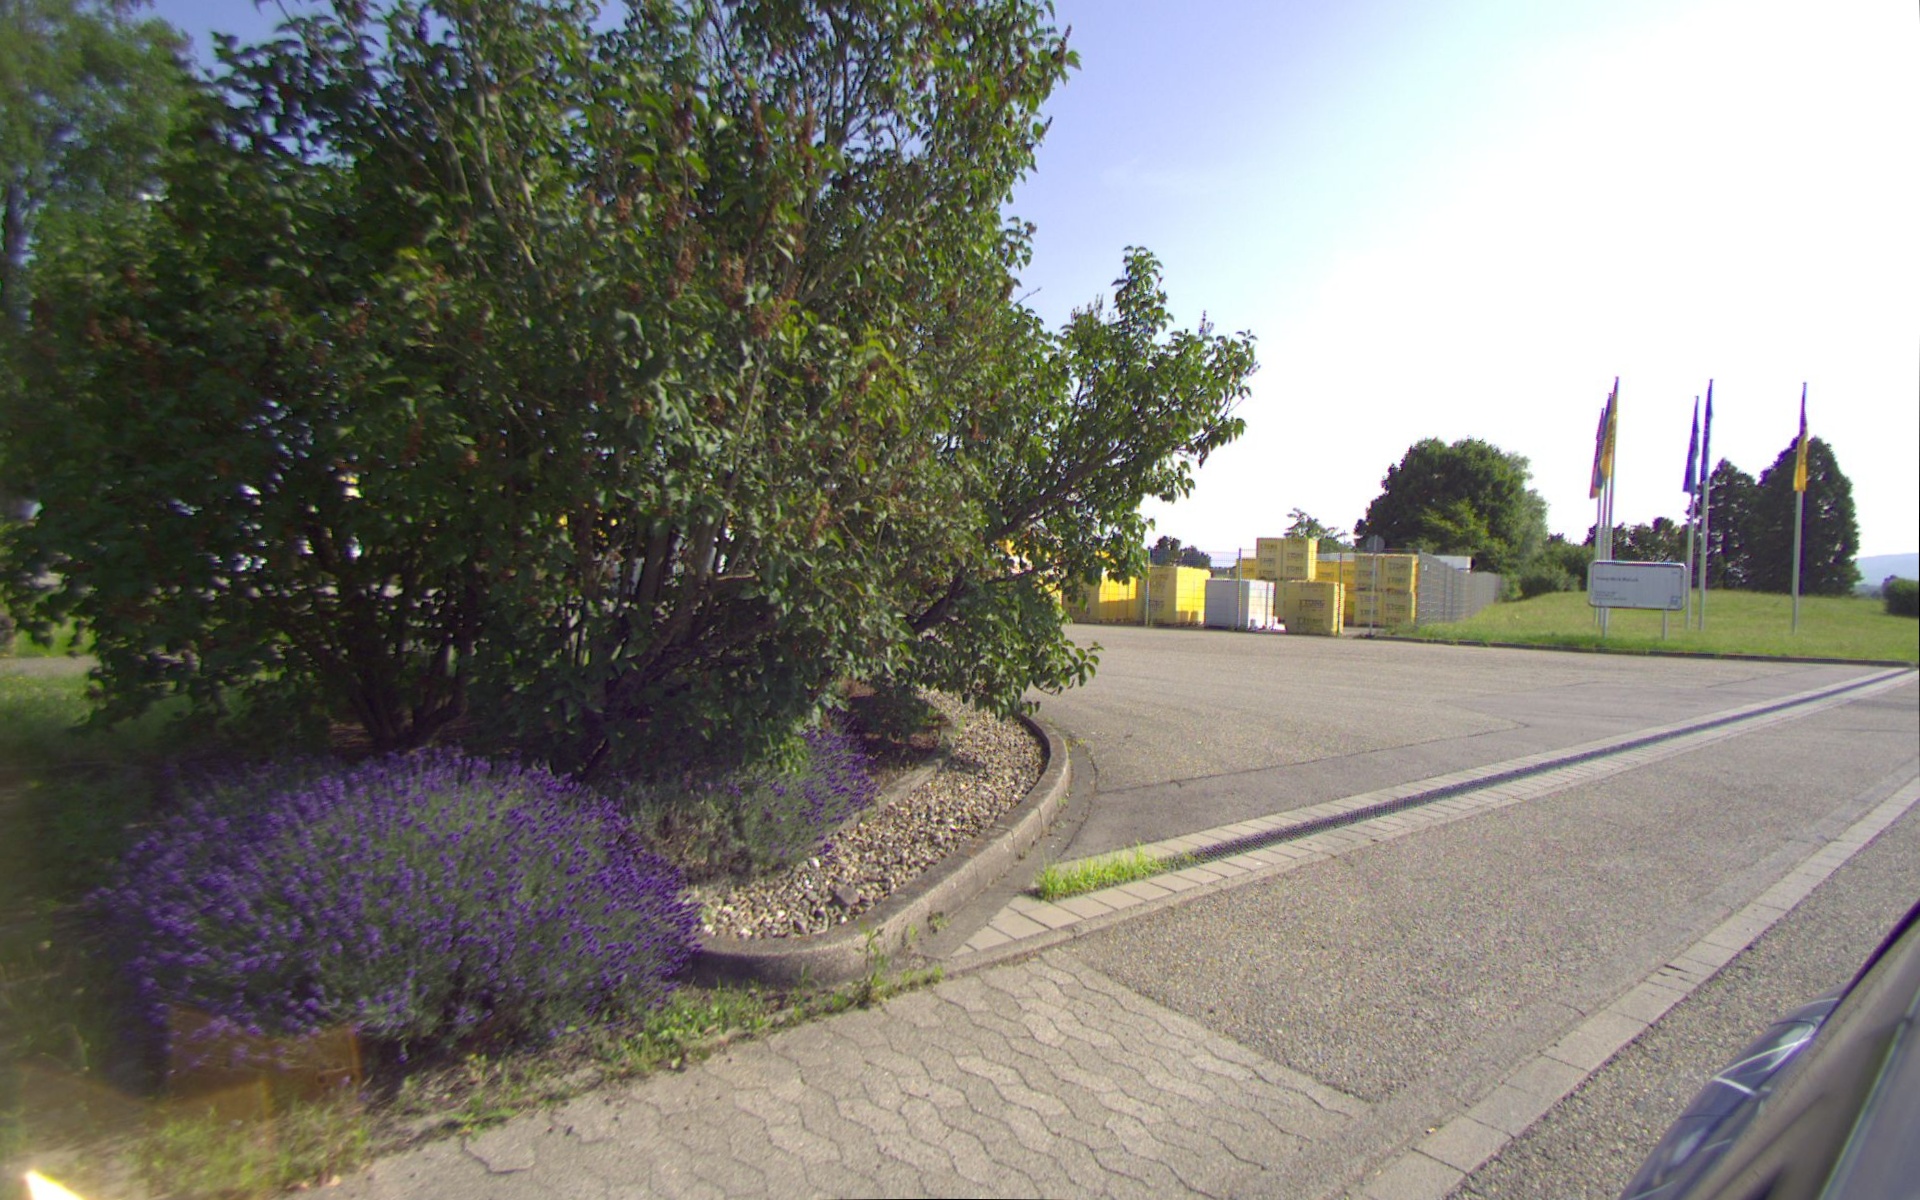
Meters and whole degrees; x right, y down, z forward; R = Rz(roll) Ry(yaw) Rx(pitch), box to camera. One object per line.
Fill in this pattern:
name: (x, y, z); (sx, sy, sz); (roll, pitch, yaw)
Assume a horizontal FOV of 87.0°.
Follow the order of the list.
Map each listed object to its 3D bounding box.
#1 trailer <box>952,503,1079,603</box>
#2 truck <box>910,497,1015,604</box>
trailer: (2.584, -1.920, 43.891); (2.462, 3.924, 7.725); (0, 1, 28)
truck: (0.140, -1.835, 39.299); (2.522, 3.924, 3.961); (0, 0, 28)
